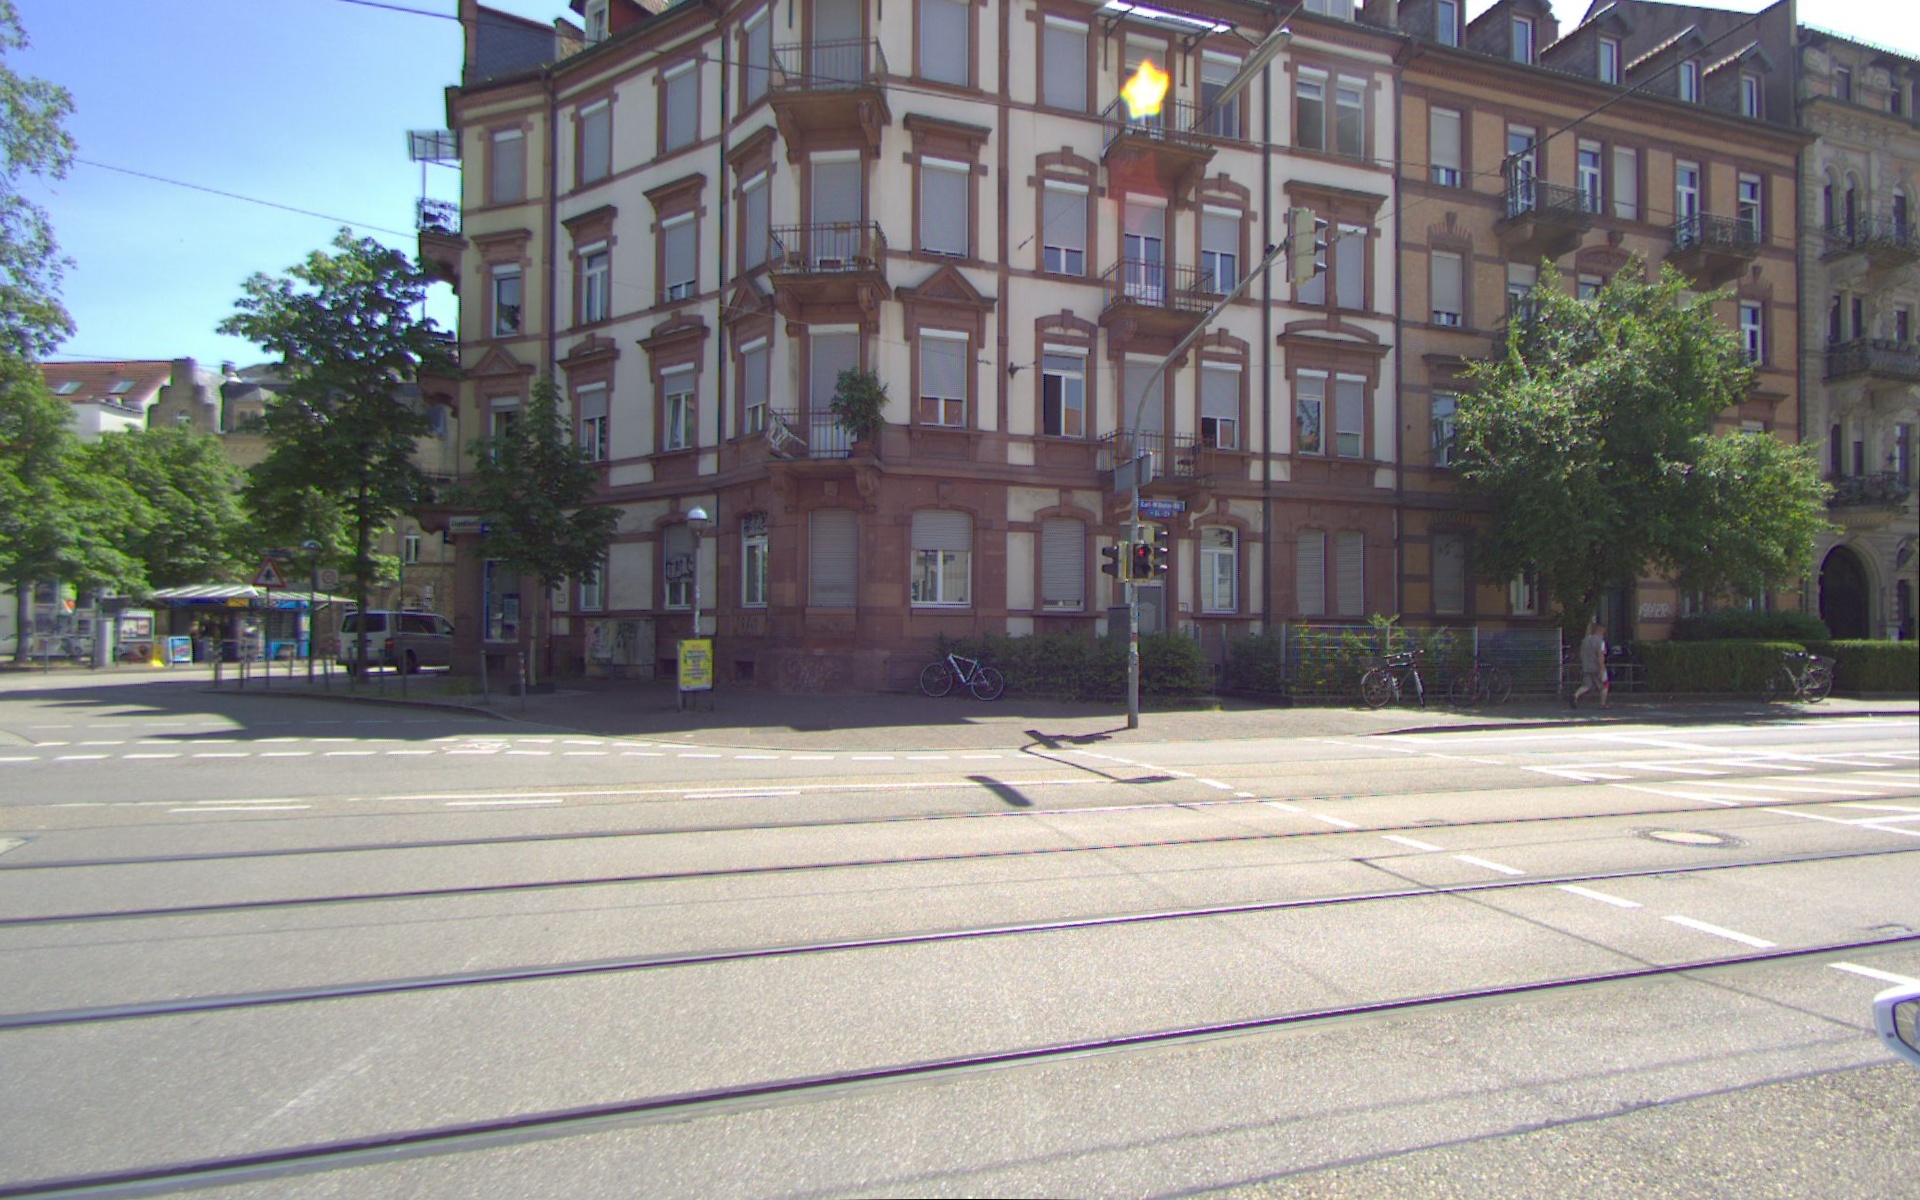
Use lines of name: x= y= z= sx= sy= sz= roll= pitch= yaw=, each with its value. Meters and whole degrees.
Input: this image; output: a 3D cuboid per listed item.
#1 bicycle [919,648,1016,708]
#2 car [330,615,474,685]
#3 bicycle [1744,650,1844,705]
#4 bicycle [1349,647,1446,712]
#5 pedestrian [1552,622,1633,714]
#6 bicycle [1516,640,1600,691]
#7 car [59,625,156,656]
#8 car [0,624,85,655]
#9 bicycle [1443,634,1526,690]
bicycle: x=0.144 y=1.530 z=19.902 sx=1.886 sy=1.122 sz=0.467 roll=0 pitch=-1 yaw=21
car: x=-17.906 y=1.563 z=32.547 sx=1.960 sy=2.094 sz=4.591 roll=0 pitch=-2 yaw=2
bicycle: x=17.632 y=1.622 z=21.248 sx=1.899 sy=1.108 sz=0.638 roll=1 pitch=1 yaw=-15
bicycle: x=8.277 y=1.489 z=19.007 sx=1.687 sy=1.184 sz=0.573 roll=1 pitch=-1 yaw=-15
pedestrian: x=12.180 y=1.297 z=19.354 sx=0.995 sy=1.723 sz=0.873 roll=1 pitch=-1 yaw=-12
bicycle: x=12.680 y=1.376 z=21.355 sx=0.487 sy=1.009 sz=1.646 roll=1 pitch=-2 yaw=-16
car: x=-48.213 y=2.287 z=56.853 sx=3.920 sy=1.720 sz=1.812 roll=0 pitch=-1 yaw=1
car: x=-52.559 y=2.227 z=57.136 sx=3.920 sy=1.720 sz=1.812 roll=0 pitch=-1 yaw=1
bicycle: x=10.286 y=1.205 z=19.703 sx=1.538 sy=1.070 sz=0.459 roll=1 pitch=-1 yaw=-15
